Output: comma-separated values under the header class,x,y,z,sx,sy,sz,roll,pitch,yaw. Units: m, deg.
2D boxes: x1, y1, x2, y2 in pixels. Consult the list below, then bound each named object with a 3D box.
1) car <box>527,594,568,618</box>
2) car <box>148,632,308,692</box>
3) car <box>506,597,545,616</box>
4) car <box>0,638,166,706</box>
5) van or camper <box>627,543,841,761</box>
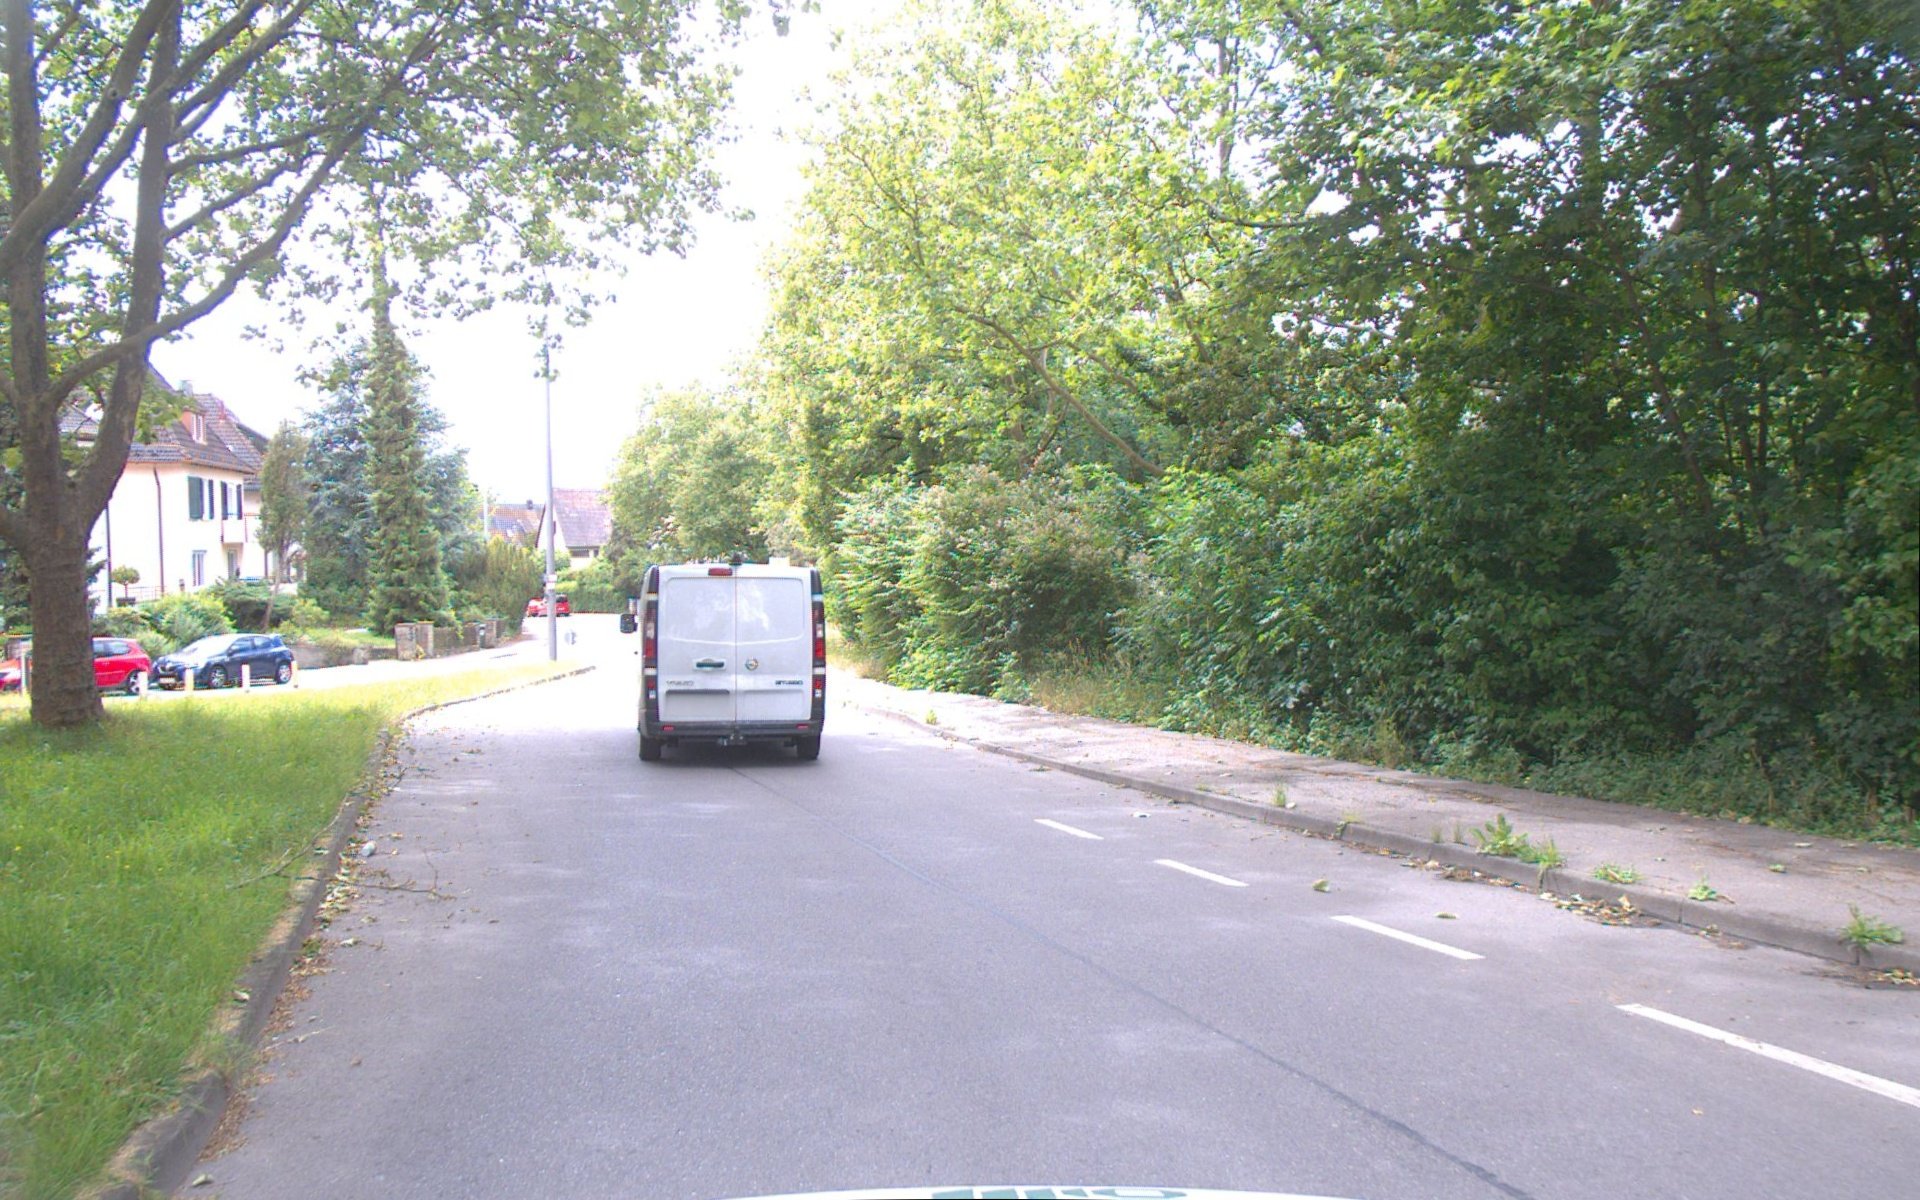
class,x,y,z,sx,sy,sz,roll,pitch,yaw
car,-33.470,0.481,134.177,1.744,1.828,4.892,-2,1,-33
car,-20.352,1.696,46.183,1.690,1.499,4.317,-1,0,17
car,-36.398,0.565,138.587,1.700,1.493,4.212,-2,1,-37
car,-22.347,1.777,41.606,1.691,1.499,4.278,-1,0,21
van or camper,-2.605,0.400,18.081,1.891,2.048,4.814,-1,2,-13
